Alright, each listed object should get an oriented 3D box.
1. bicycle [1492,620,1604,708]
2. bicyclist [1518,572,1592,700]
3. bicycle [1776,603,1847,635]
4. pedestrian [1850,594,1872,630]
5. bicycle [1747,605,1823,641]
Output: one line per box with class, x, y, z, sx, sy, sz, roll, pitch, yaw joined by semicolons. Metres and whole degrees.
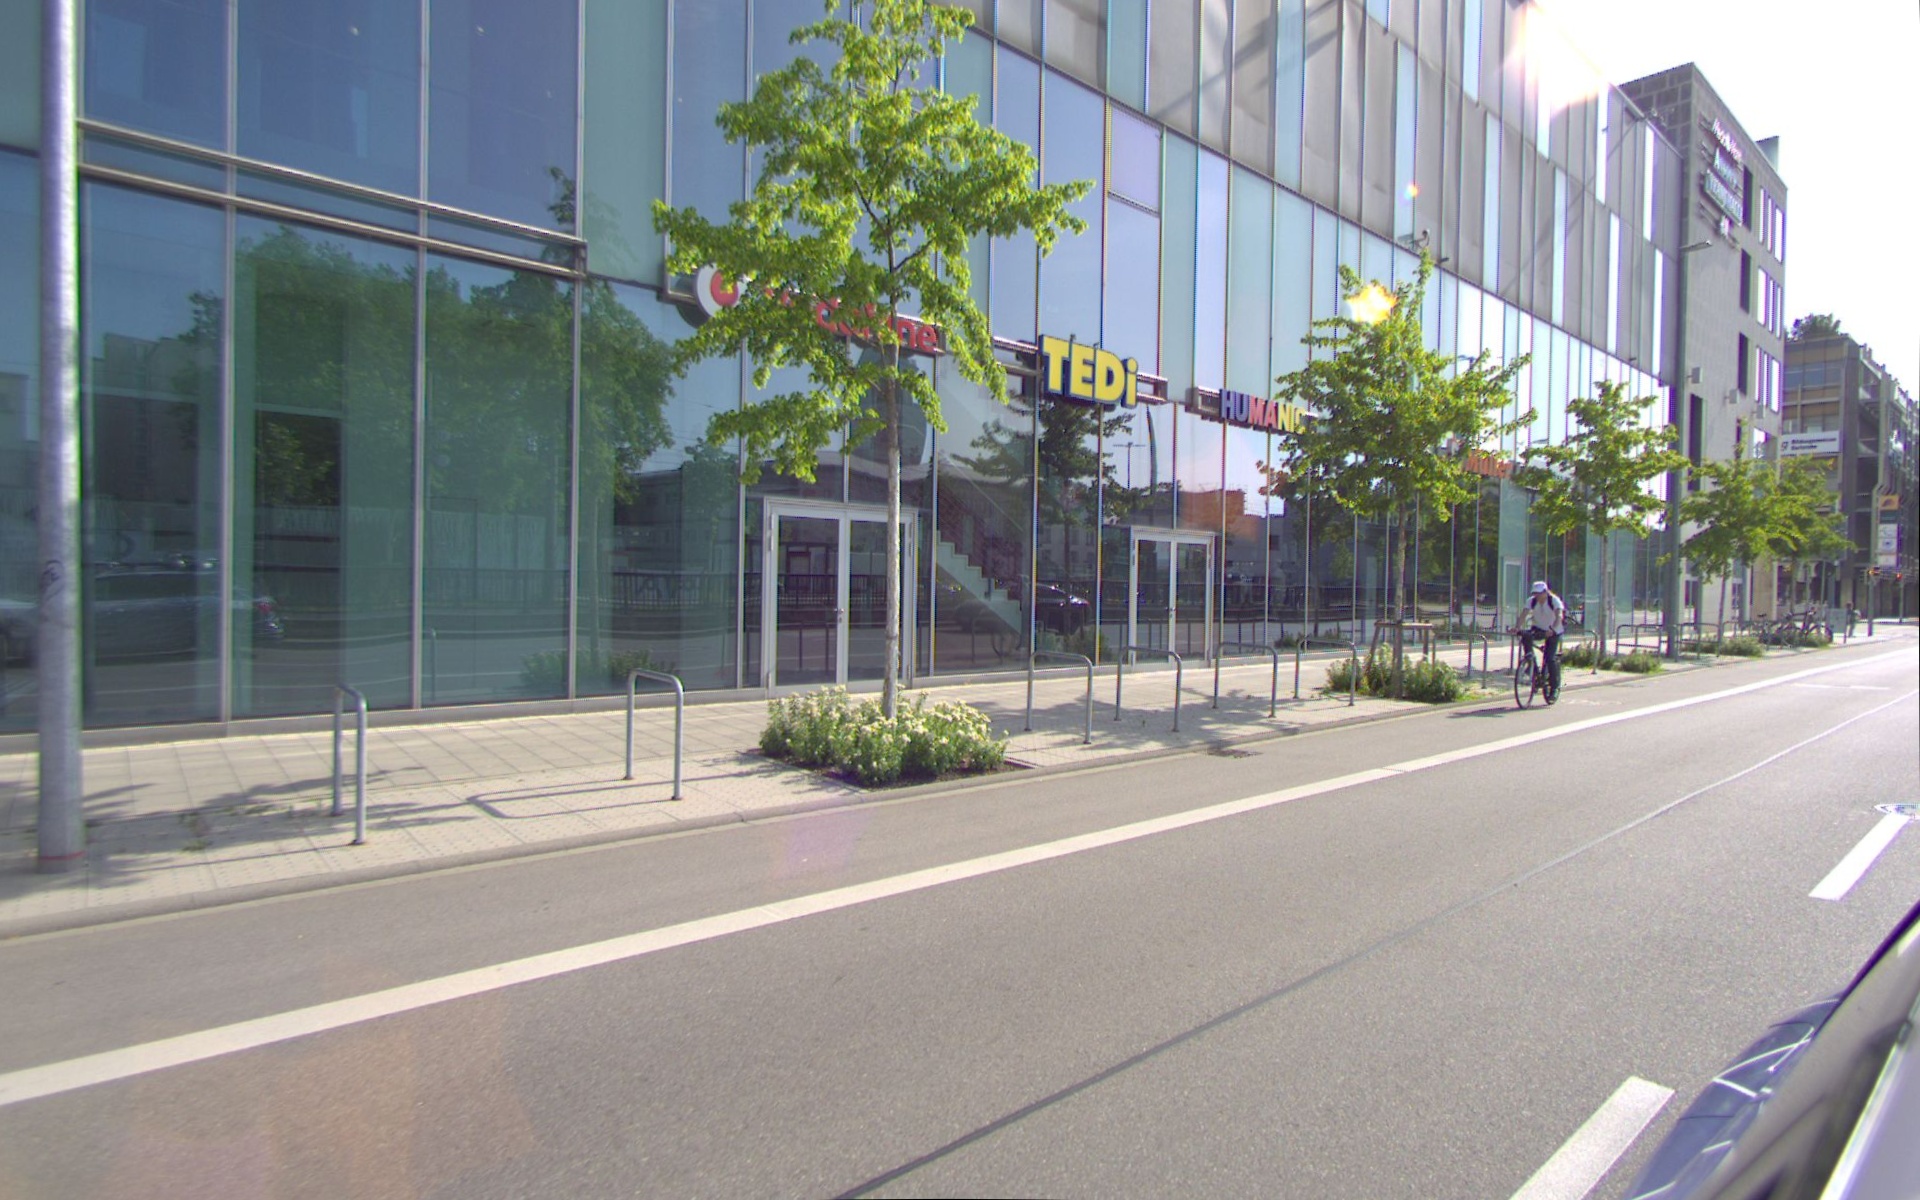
bicycle;8.359;0.871;14.359;2.013;1.131;0.662;0;1;-38
bicyclist;8.504;0.494;14.463;0.755;1.771;0.653;1;0;-38
bicycle;30.408;0.662;36.166;0.674;1.127;1.843;1;-1;-38
pedestrian;39.216;0.517;44.043;0.707;1.506;0.595;1;0;43
bicycle;27.287;0.738;33.500;0.481;1.123;1.883;1;1;-38
